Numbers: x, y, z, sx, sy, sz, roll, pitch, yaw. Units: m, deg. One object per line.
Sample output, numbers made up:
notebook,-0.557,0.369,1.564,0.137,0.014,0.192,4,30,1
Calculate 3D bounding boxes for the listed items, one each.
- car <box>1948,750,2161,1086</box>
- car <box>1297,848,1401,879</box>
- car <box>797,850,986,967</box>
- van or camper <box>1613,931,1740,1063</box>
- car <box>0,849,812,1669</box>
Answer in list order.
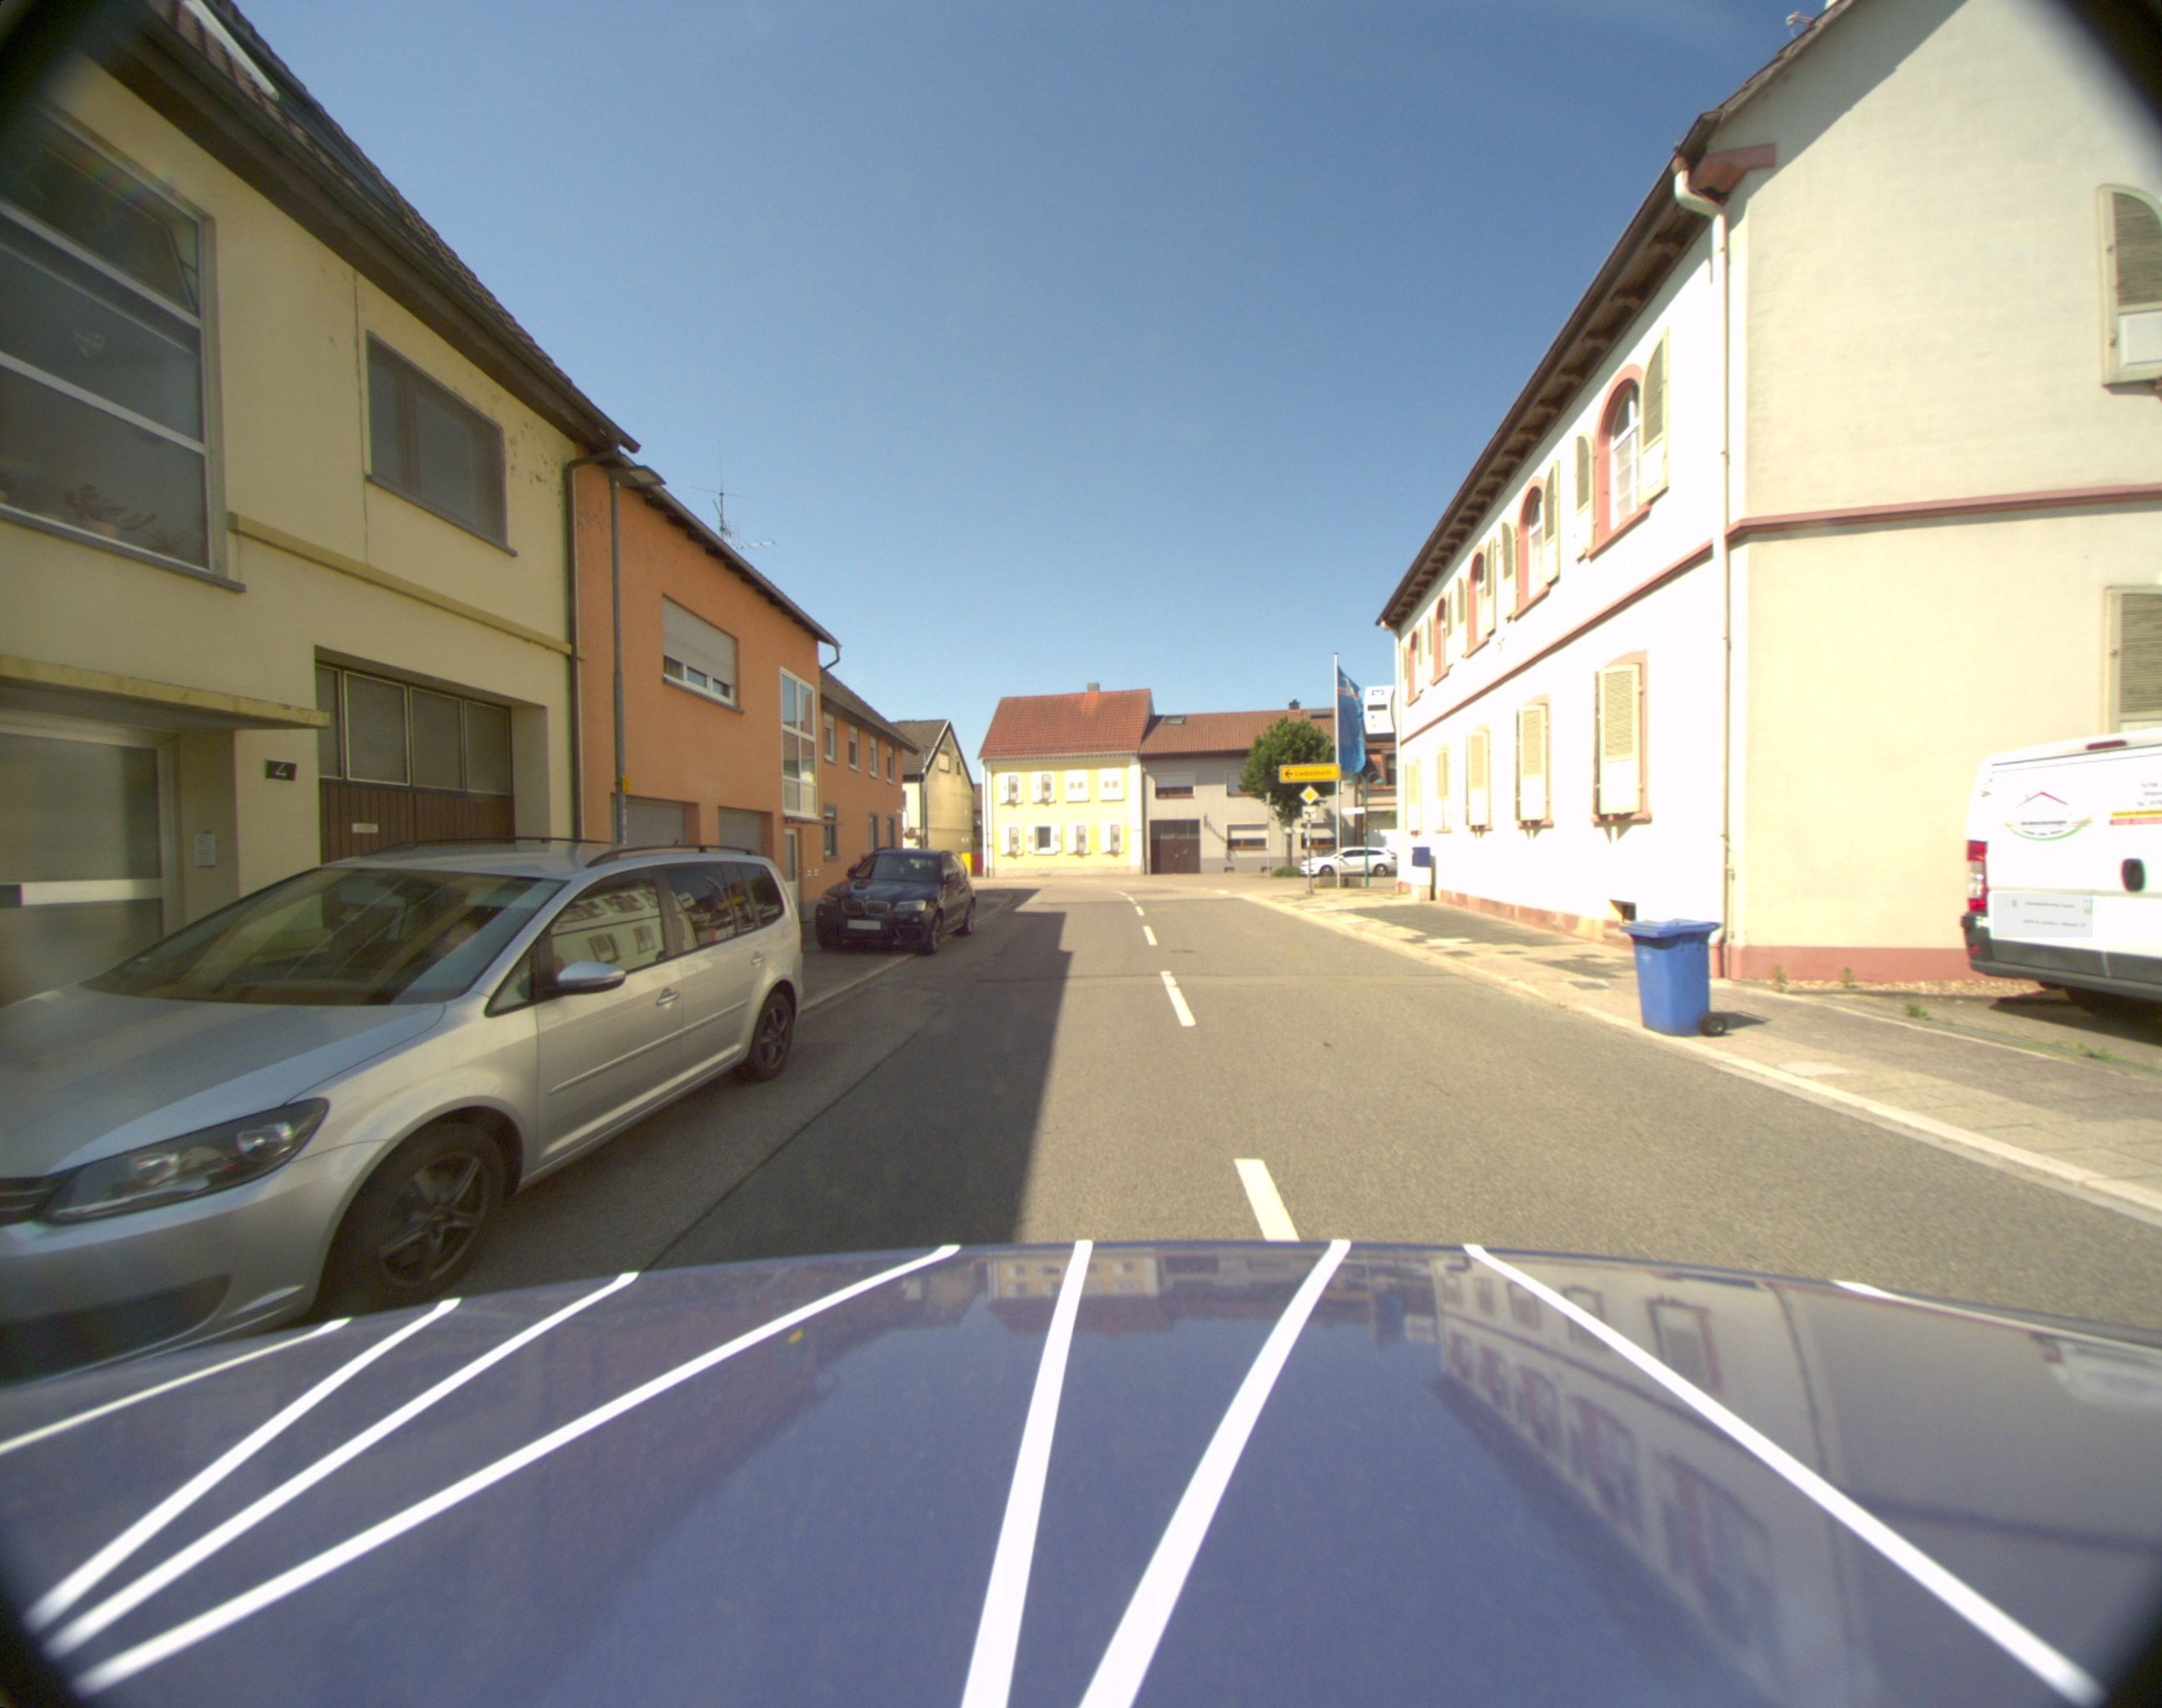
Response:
car,9.642,0.354,4.834,5.184,2.184,2.124,-1,1,12
car,13.313,0.455,37.899,4.510,1.432,1.855,-1,1,-1
car,-3.089,0.779,13.673,1.848,1.693,5.181,0,1,3
van or camper,4.816,1.137,6.180,0.590,0.946,0.600,-1,1,8
car,-3.142,0.869,3.755,1.903,1.718,4.249,-1,1,3
